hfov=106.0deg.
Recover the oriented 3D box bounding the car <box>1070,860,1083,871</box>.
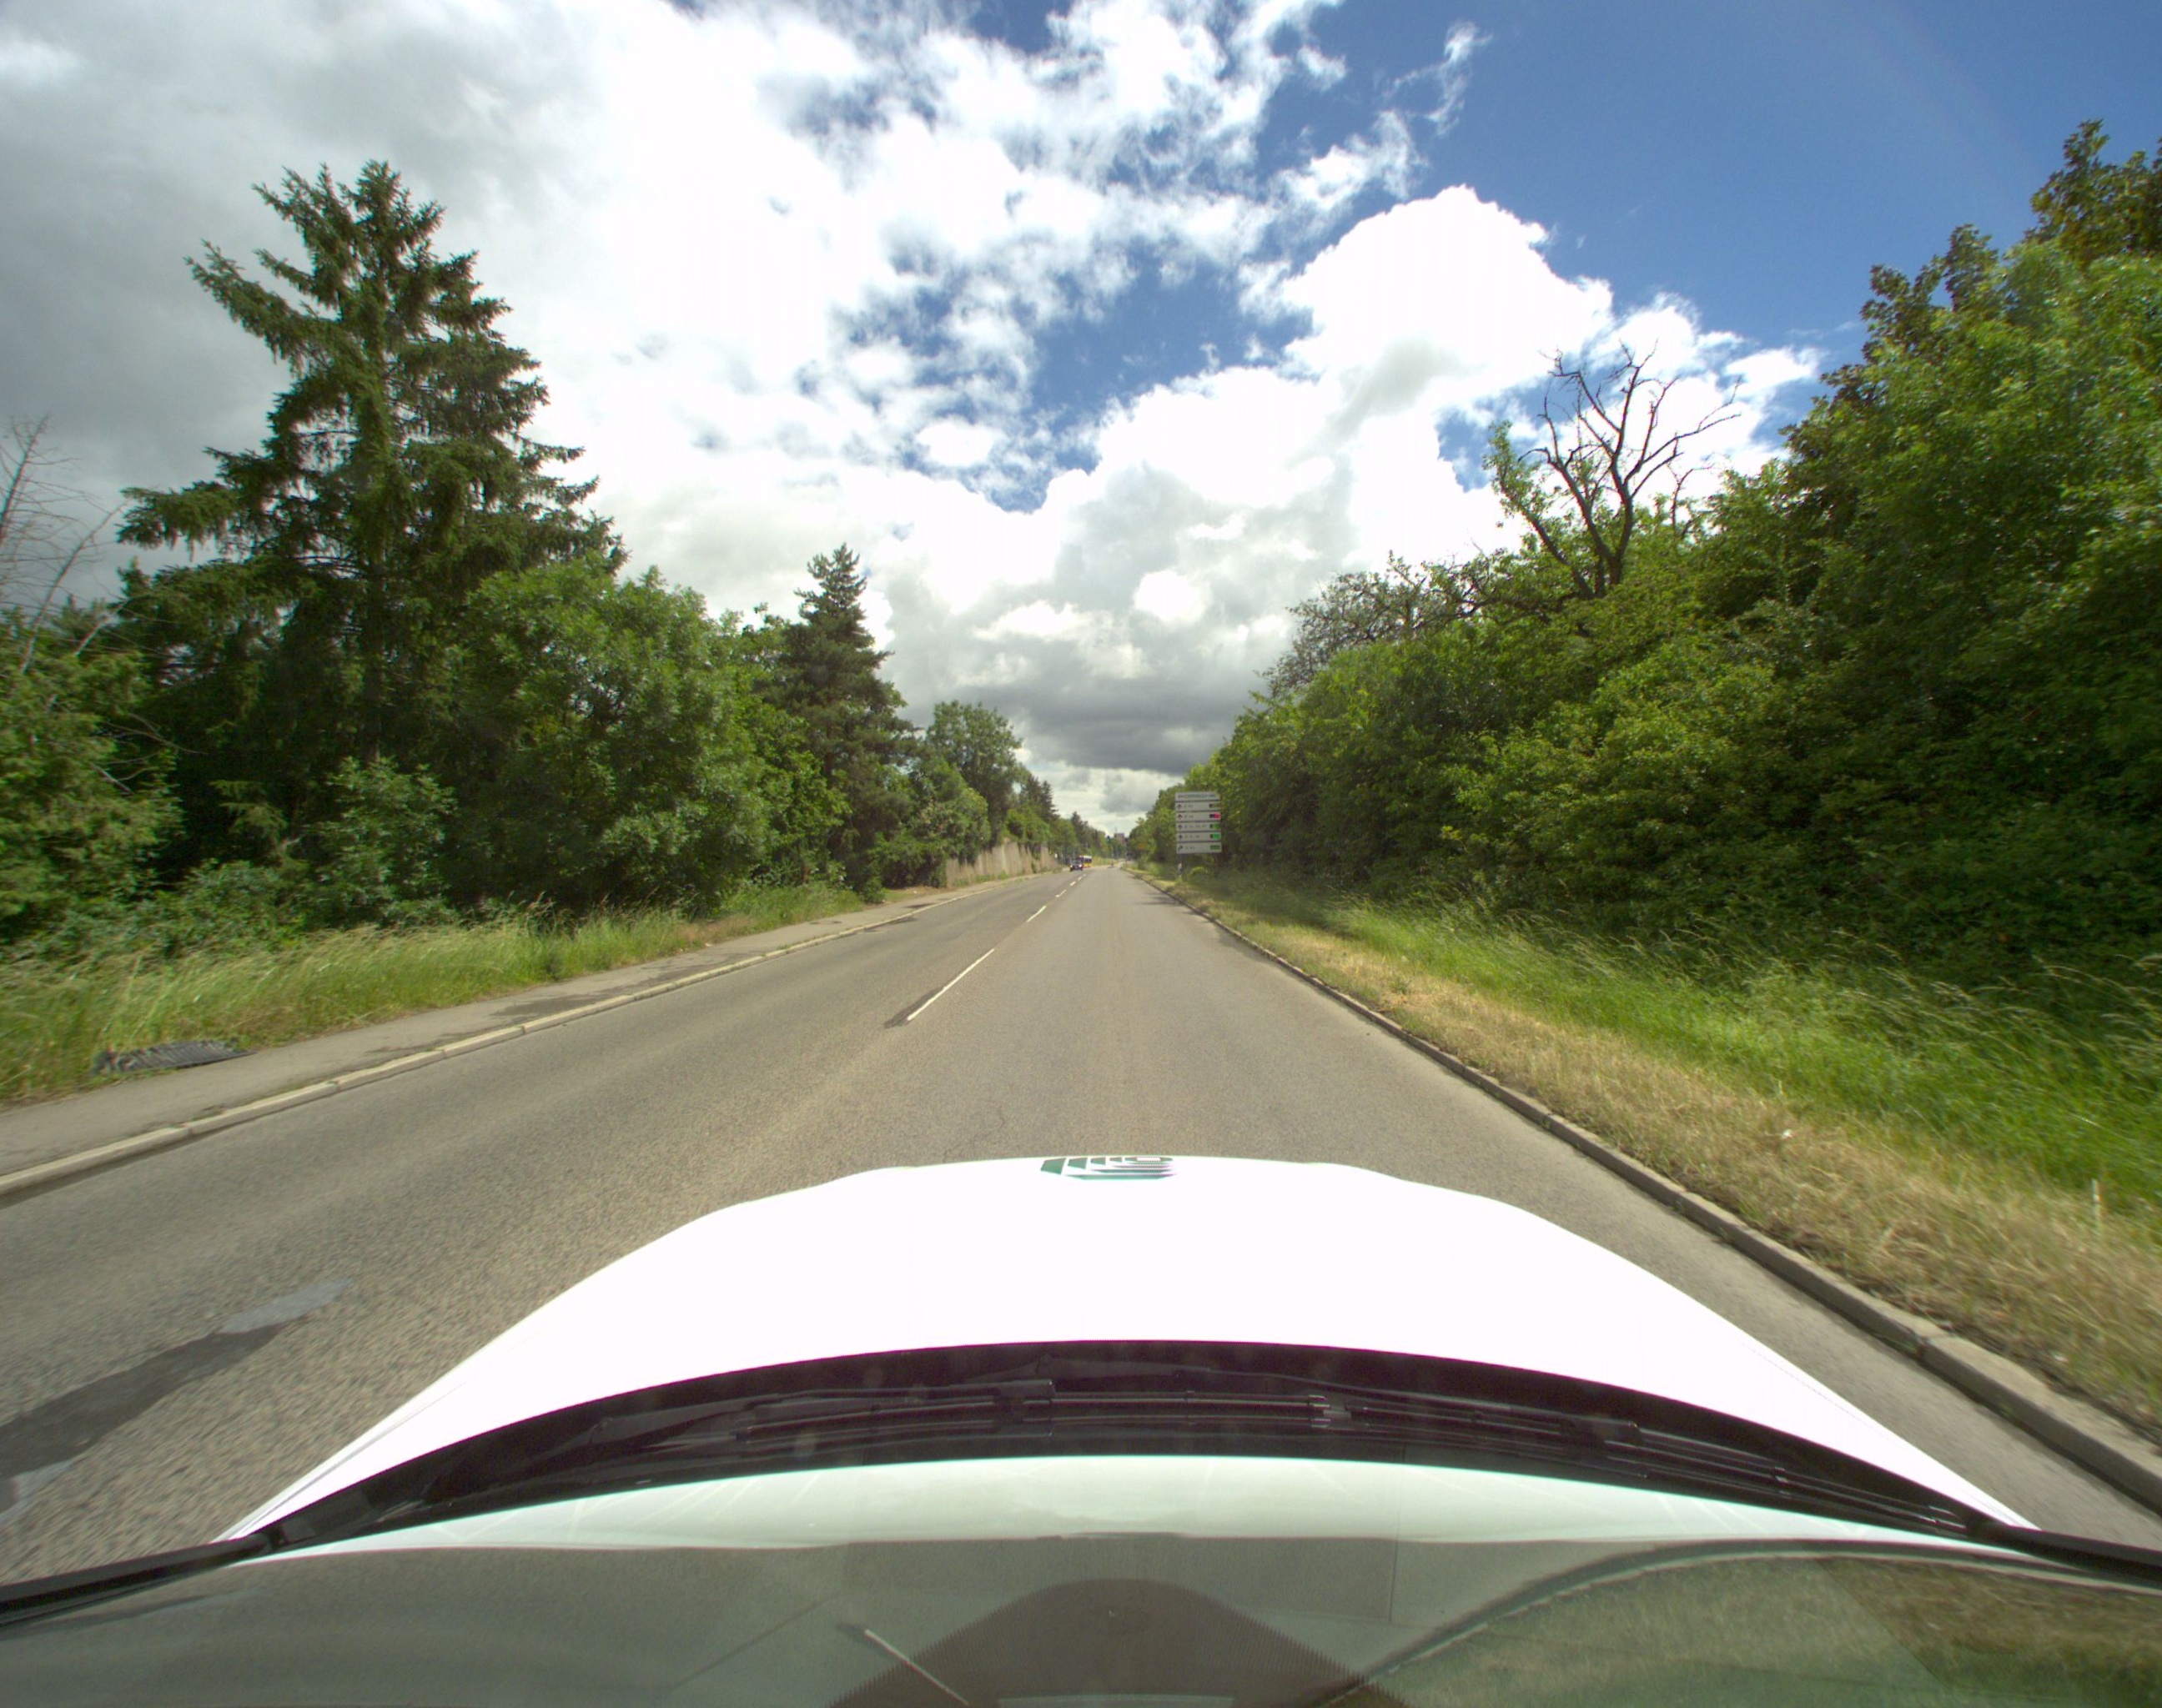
[{"bbox_3d":[-0.601,1.608,113.718,1.745,1.464,4.001,-3,0,1],"label":"car"}]

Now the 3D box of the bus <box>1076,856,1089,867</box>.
[{"bbox_3d":[0.509,1.907,216.913,2.881,2.899,7.678,0,0,5],"label":"bus"}]
